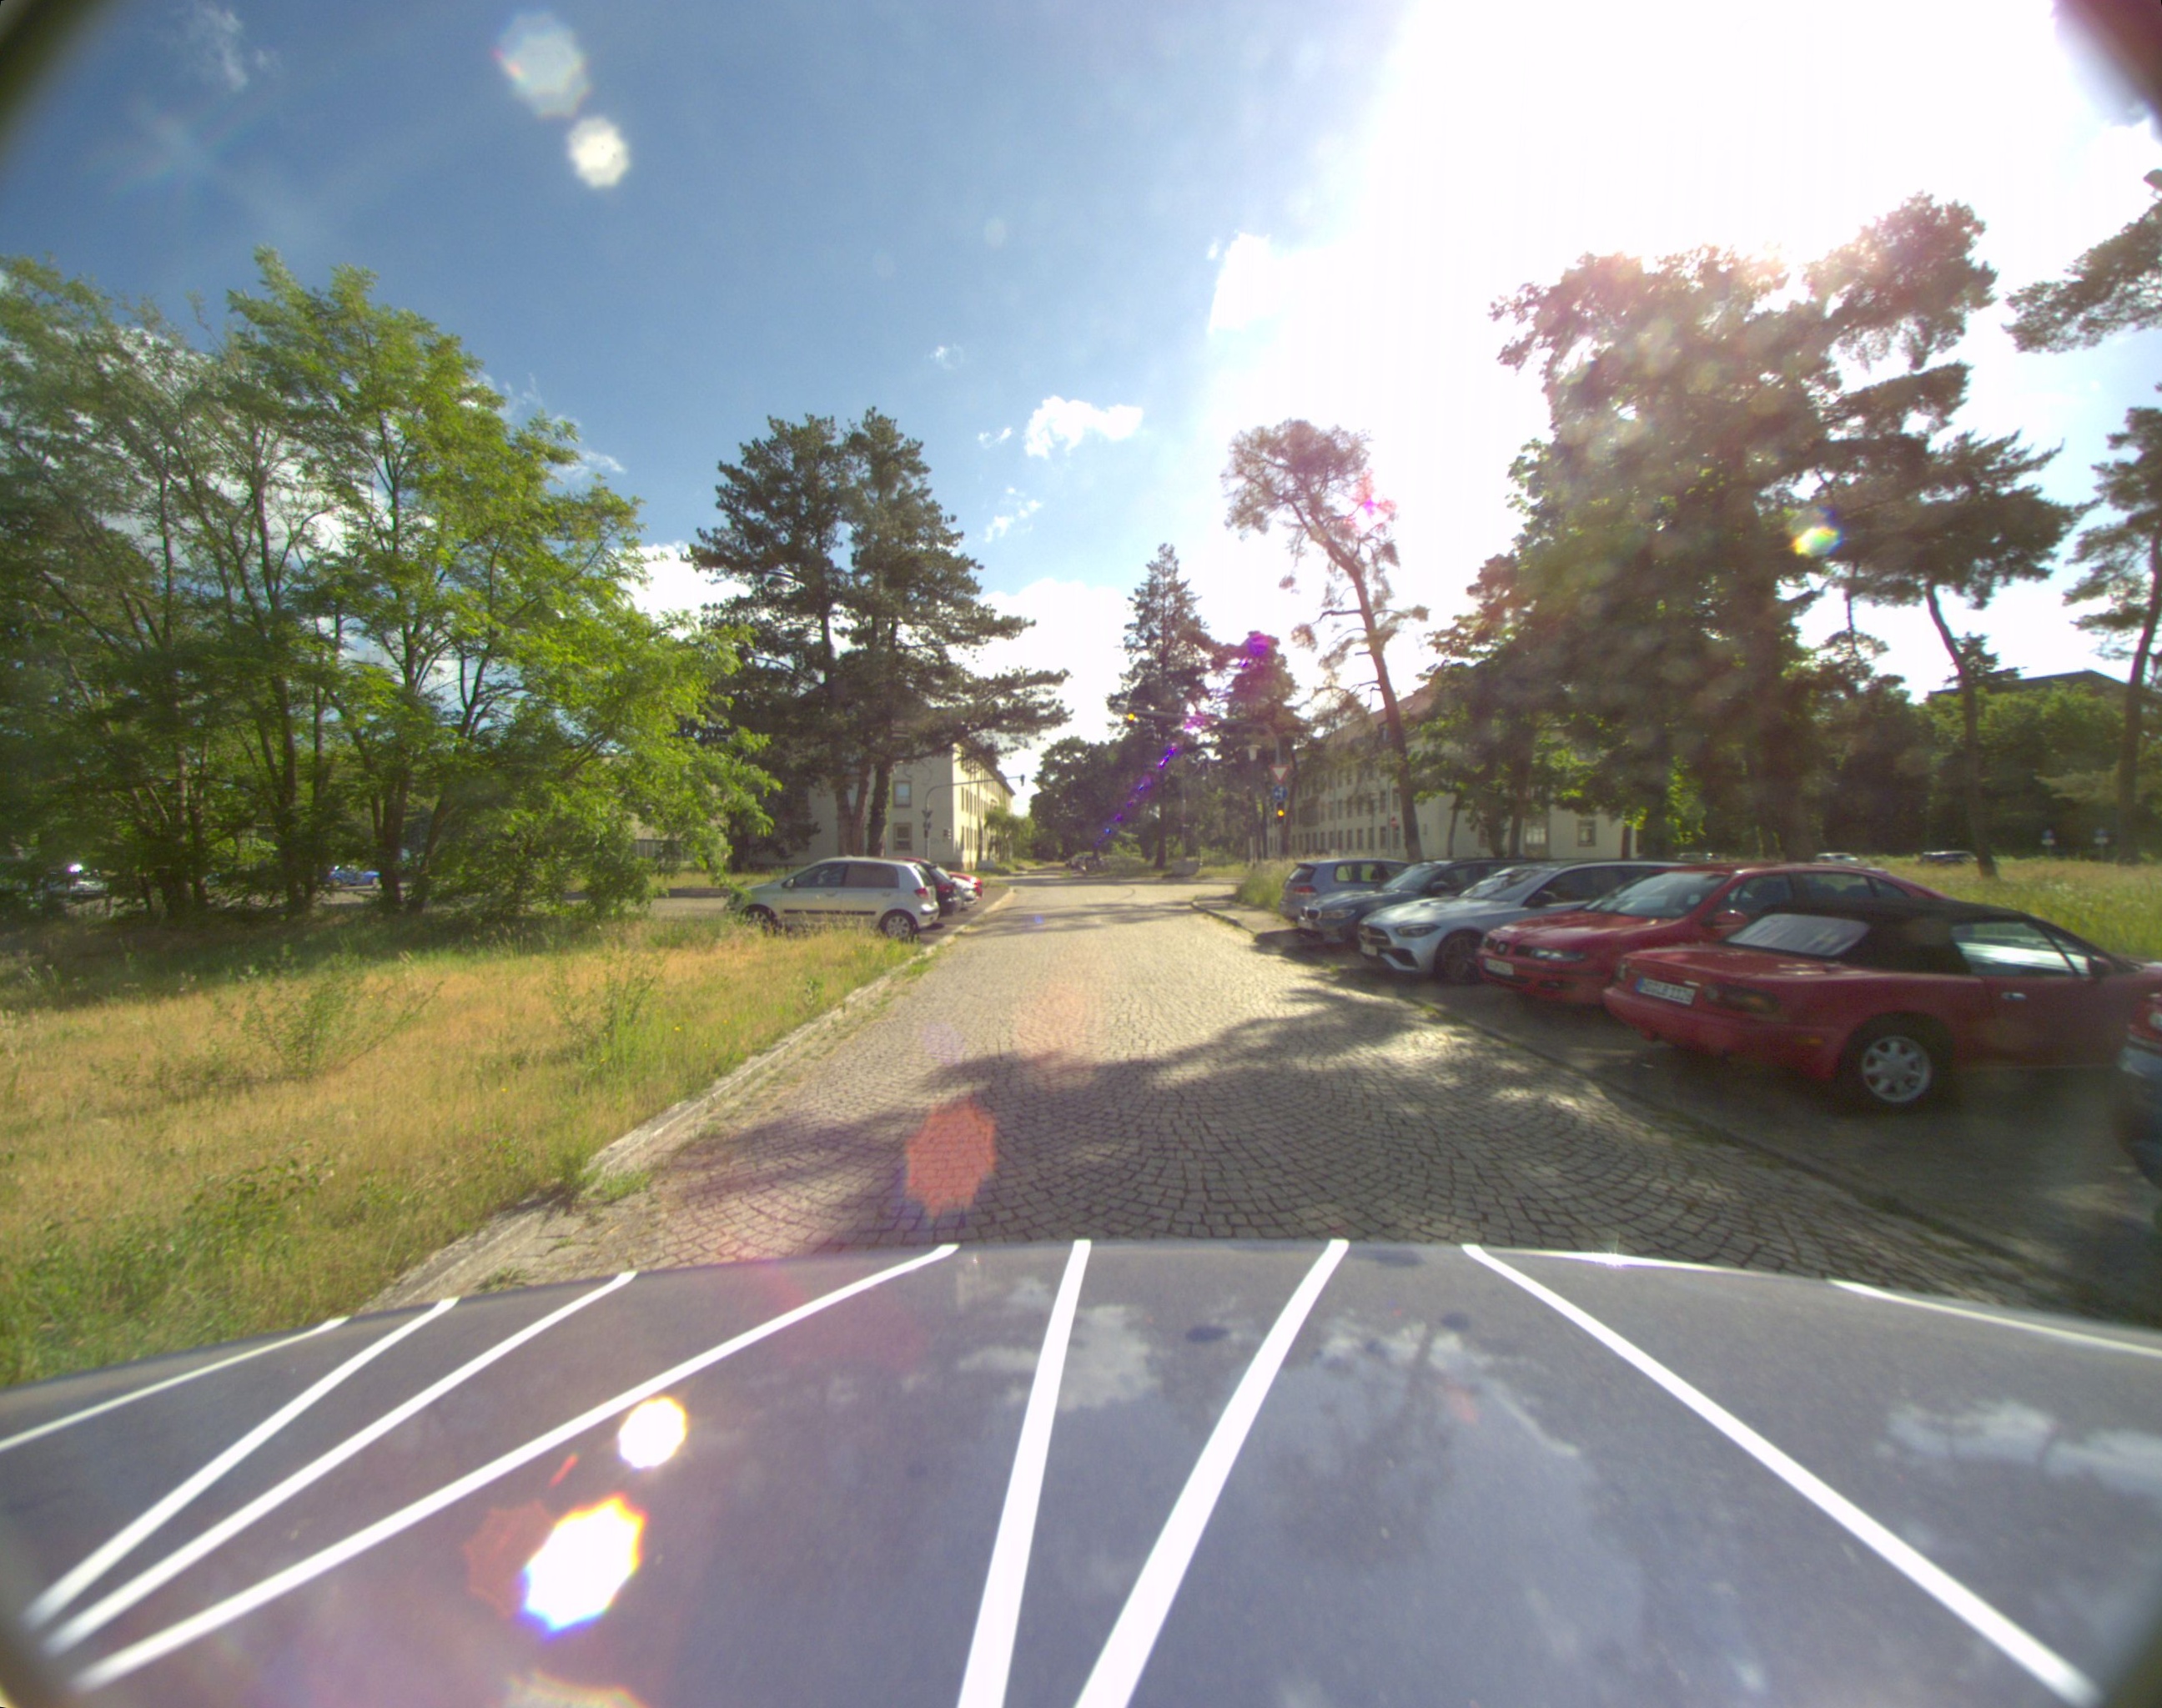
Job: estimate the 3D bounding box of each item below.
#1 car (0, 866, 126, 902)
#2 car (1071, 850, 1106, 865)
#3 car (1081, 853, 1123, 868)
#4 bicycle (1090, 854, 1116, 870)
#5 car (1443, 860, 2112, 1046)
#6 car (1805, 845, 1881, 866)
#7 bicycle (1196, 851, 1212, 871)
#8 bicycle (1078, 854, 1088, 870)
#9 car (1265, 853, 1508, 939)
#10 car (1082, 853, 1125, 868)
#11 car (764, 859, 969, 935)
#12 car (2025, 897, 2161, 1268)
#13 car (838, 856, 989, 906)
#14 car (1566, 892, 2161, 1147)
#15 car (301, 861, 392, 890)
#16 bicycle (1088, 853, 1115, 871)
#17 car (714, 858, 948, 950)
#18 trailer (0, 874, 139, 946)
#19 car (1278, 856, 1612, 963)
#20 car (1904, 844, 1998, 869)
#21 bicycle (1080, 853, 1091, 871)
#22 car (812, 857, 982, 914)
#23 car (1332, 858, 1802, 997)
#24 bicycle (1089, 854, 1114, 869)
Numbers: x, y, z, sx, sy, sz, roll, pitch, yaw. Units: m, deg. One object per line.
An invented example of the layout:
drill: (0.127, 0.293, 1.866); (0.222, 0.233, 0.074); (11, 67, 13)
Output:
car: (-42.706, 1.240, 31.484); (3.997, 1.413, 1.745); (-1, -1, -1)
car: (0.943, 0.441, 96.124); (4.227, 1.903, 1.816); (0, 1, -11)
car: (2.177, 0.663, 78.793); (4.045, 1.514, 1.816); (0, 1, -9)
bicycle: (1.914, 0.669, 66.184); (2.114, 1.276, 0.621); (-2, 1, -7)
car: (6.497, 0.866, 7.536); (4.877, 1.412, 1.938); (-2, 1, 0)
car: (58.319, 0.139, 58.199); (4.105, 1.571, 1.720); (0, 1, 1)
bicycle: (8.318, 0.452, 51.476); (0.621, 1.276, 2.114); (-4, 0, -3)
bicycle: (0.139, 0.633, 62.734); (0.621, 1.276, 2.114); (-2, 1, -5)
car: (5.976, 0.778, 15.212); (4.037, 1.474, 1.948); (-2, 0, -3)
car: (2.188, 0.659, 75.768); (4.045, 1.493, 1.816); (0, 1, -9)
car: (-4.637, 0.916, 16.900); (4.015, 1.432, 1.843); (2, 0, -3)
car: (6.356, 0.889, 2.554); (4.087, 1.444, 1.821); (-2, 2, 0)
car: (-5.392, 0.866, 24.933); (4.549, 1.413, 1.894); (2, 1, -2)
car: (5.711, 0.994, 5.216); (3.639, 1.227, 1.759); (-2, 1, 0)
car: (-48.137, 1.387, 49.911); (1.860, 1.555, 4.058); (-1, 3, 1)
bicycle: (1.723, 0.657, 63.930); (2.114, 1.276, 0.621); (-6, 1, -4)
car: (-4.516, 0.885, 14.157); (3.750, 1.468, 1.751); (2, 1, -3)
trailer: (-17.801, 0.946, 12.788); (2.406, 1.099, 1.035); (-2, 1, -4)
car: (5.853, 0.839, 12.590); (4.594, 1.443, 1.983); (-2, 1, -4)
car: (57.880, 0.144, 50.597); (4.056, 1.620, 1.840); (0, 1, 1)
bicycle: (0.334, 0.643, 60.563); (0.621, 1.342, 2.114); (-2, 1, -5)
car: (-5.233, 0.887, 22.123); (4.526, 1.456, 1.838); (2, 1, -4)
car: (6.029, 0.865, 9.873); (4.877, 1.413, 1.938); (-2, 1, 0)
bicycle: (1.783, 0.674, 67.010); (2.114, 1.276, 0.621); (-2, 1, -7)
